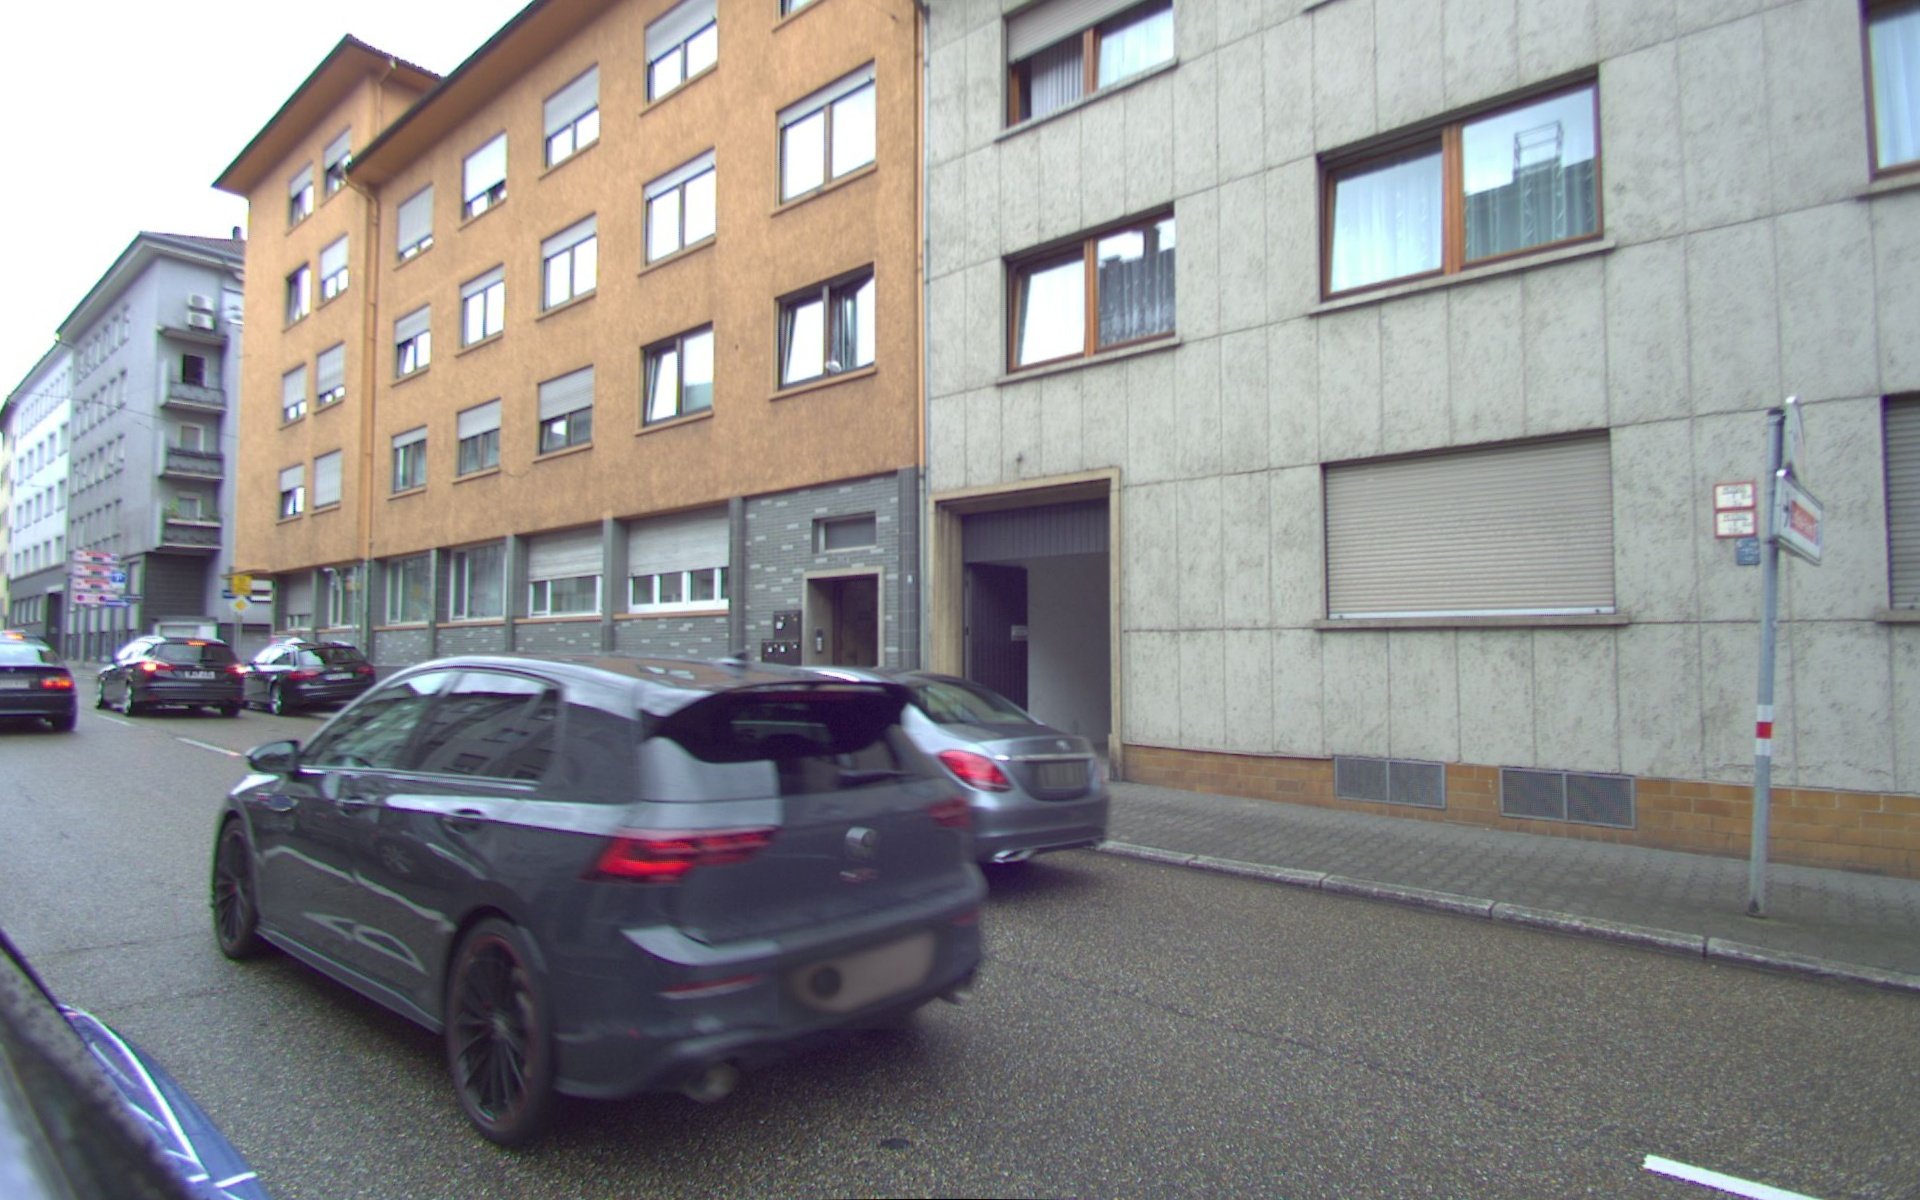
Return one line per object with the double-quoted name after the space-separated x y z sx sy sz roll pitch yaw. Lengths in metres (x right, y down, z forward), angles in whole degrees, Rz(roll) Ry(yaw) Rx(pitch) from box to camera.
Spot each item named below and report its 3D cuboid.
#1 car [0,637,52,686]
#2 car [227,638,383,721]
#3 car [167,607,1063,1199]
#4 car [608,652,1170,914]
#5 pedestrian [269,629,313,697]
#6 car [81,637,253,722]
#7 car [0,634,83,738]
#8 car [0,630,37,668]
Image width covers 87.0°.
-33.792 2.135 35.882 4.433 1.551 1.677 -1 -6 40 "car"
-14.256 1.636 21.941 4.216 1.485 1.776 -1 0 41 "car"
-1.791 0.882 4.388 4.214 1.592 1.677 0 -4 40 "car"
-0.745 1.184 7.855 4.362 1.381 1.678 -1 -5 40 "car"
-16.999 1.589 25.715 0.757 1.652 1.024 -1 0 -44 "pedestrian"
-15.690 1.510 19.942 4.370 1.484 1.705 -2 -5 40 "car"
-14.997 1.243 15.566 4.216 1.381 1.677 0 -4 42 "car"
-46.483 2.367 49.277 4.216 1.735 1.832 -1 0 41 "car"
